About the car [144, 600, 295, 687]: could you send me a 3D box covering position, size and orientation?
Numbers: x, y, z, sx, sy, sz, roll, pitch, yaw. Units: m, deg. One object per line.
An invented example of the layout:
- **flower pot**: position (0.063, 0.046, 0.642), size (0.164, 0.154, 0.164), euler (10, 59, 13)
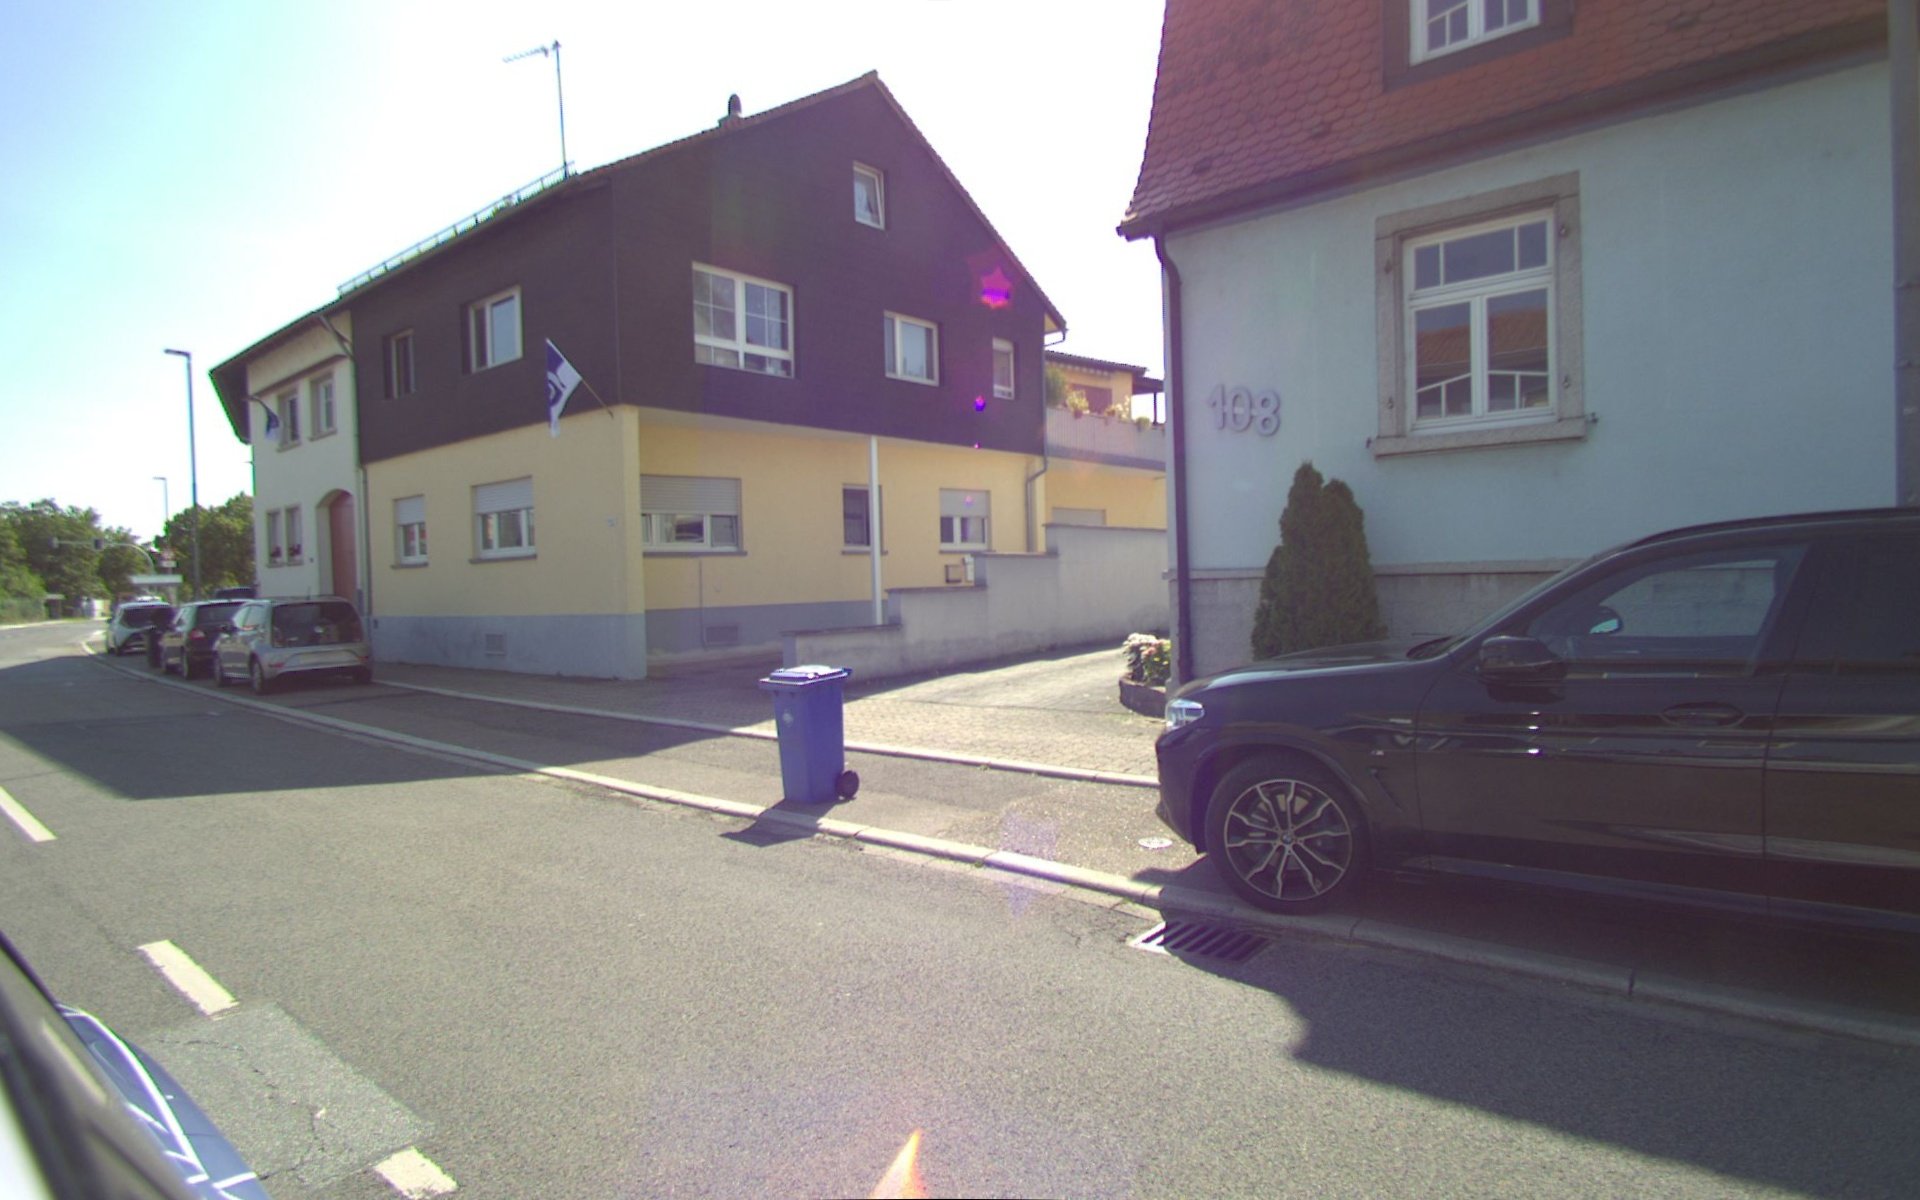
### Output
- **car**: position (-14.947, 0.799, 20.353), size (3.996, 1.447, 1.660), euler (0, 4, 43)

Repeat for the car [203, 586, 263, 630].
- **car**: position (-38.441, 0.410, 53.443), size (2.100, 2.000, 5.275), euler (-8, 5, -39)

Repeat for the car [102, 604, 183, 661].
- **car**: position (-23.931, 0.909, 29.584), size (1.663, 1.473, 3.654), euler (-3, 2, -41)

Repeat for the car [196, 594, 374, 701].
- **car**: position (-11.445, 0.721, 17.072), size (3.782, 1.512, 1.623), euler (0, 3, 43)

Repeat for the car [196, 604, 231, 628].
- **car**: position (-48.786, 1.065, 66.130), size (1.692, 1.464, 3.923), euler (-4, 1, -37)

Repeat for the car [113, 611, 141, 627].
- **car**: position (-91.245, 2.050, 110.906), size (1.816, 1.604, 4.118), euler (-2, 1, -32)

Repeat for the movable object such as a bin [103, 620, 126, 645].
- **movable object such as a bin**: position (-32.612, 1.248, 39.035), size (0.514, 0.943, 0.552), euler (-1, 3, 42)

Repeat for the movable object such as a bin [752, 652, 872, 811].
- **movable object such as a bin**: position (-1.029, 0.886, 7.074), size (0.530, 0.989, 0.590), euler (-1, 2, 39)

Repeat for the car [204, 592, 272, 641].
- **car**: position (-30.437, 0.651, 42.758), size (1.812, 1.806, 4.356), euler (-5, 3, -30)

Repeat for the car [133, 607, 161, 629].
- **car**: position (-96.897, 2.079, 120.705), size (1.907, 2.521, 5.855), euler (-1, 1, -32)

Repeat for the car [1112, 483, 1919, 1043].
- **car**: position (3.141, 0.434, 3.991), size (4.659, 1.680, 1.902), euler (-1, 3, 38)

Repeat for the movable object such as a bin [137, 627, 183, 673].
- **movable object such as a bin**: position (-17.922, 1.114, 22.665), size (0.824, 0.935, 0.546), euler (-2, 5, 38)
